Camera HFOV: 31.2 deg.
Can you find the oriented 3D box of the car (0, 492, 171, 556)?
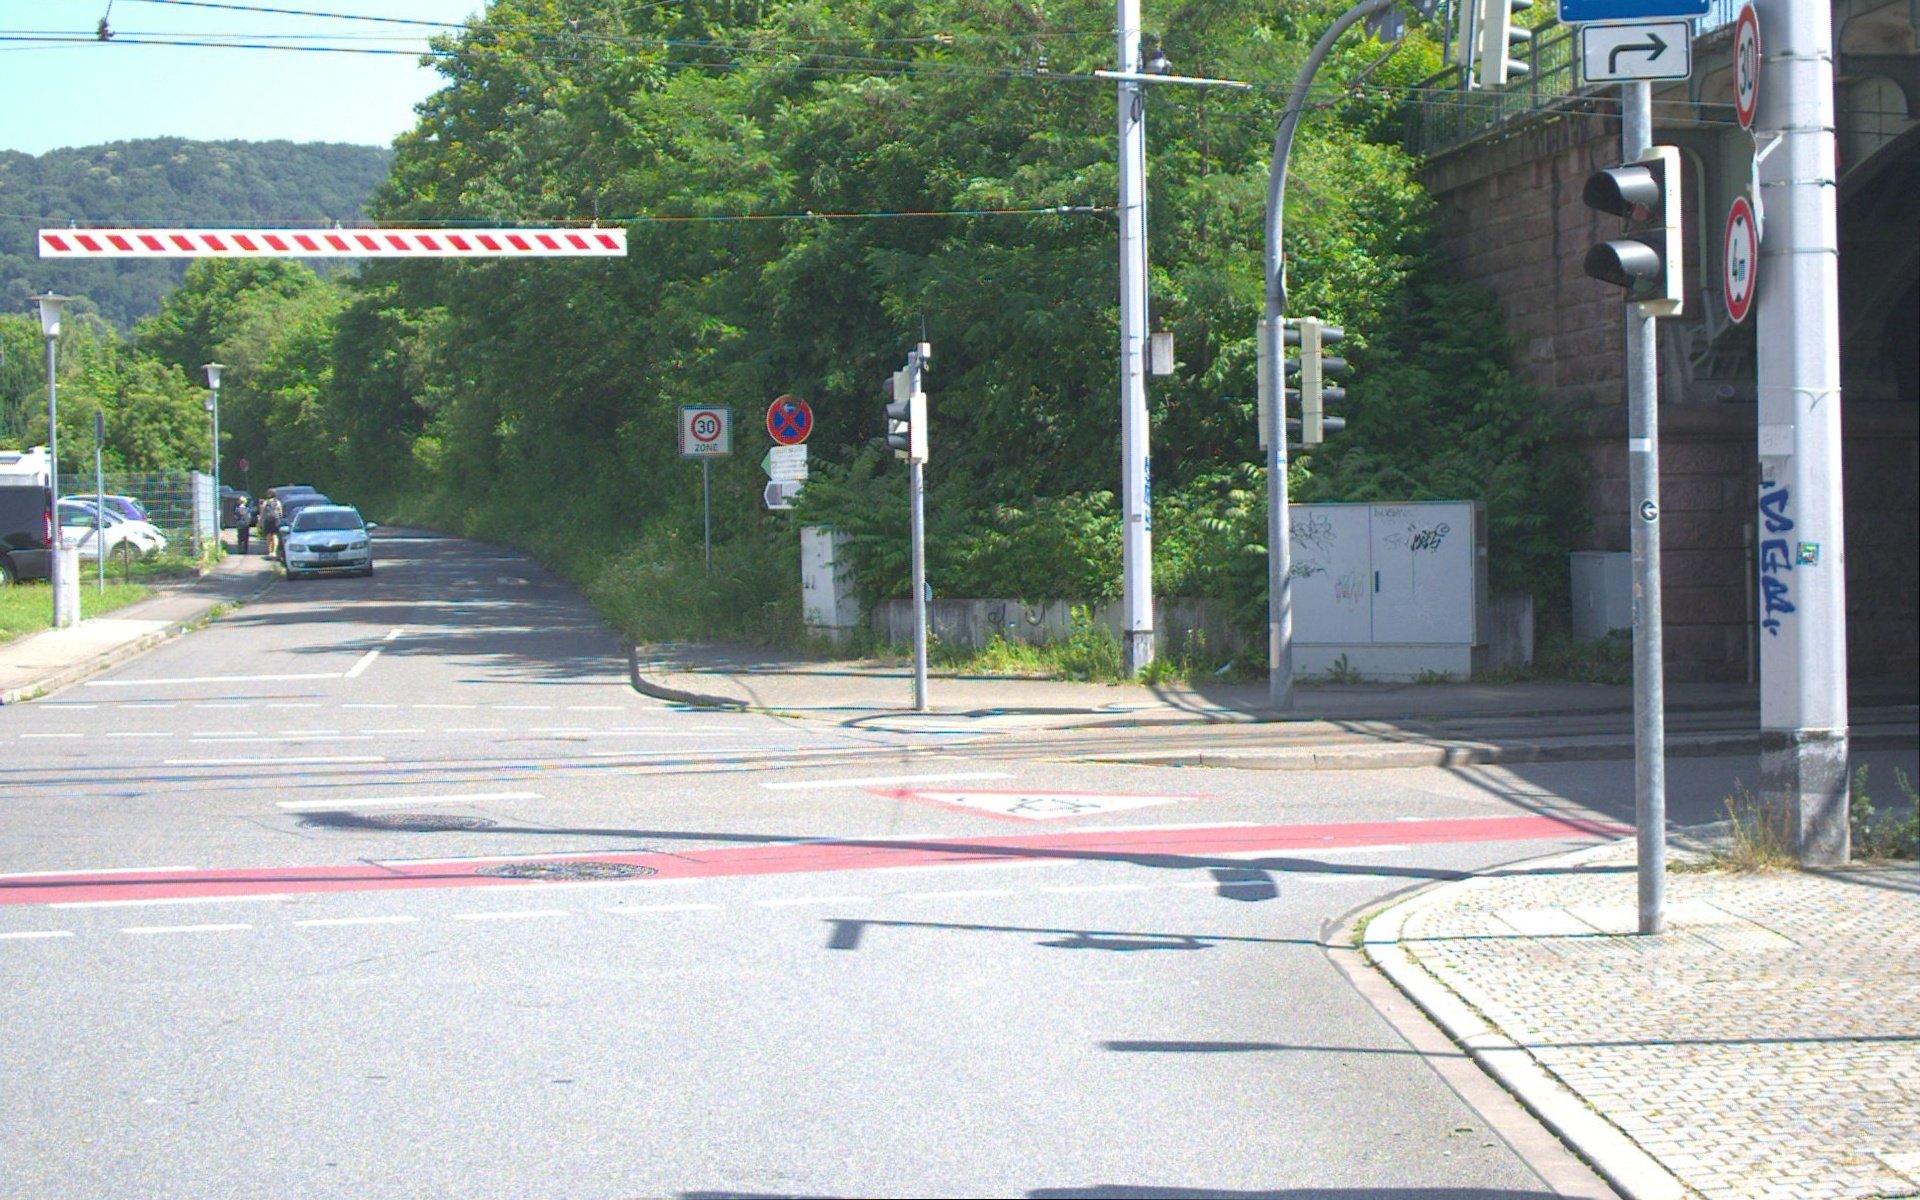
[{"bbox_3d":[-19.717,-1.708,77.283,3.719,1.367,1.605,1,1,-7],"label":"car"}]

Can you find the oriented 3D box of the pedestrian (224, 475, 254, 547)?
[{"bbox_3d":[-17.754,-2.192,84.631,0.653,1.757,0.804,1,0,-9],"label":"pedestrian"}]

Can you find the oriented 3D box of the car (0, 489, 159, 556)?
[{"bbox_3d":[-19.429,-1.682,74.863,3.719,1.367,1.605,1,0,-7],"label":"car"}]

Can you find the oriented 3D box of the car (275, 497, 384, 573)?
[{"bbox_3d":[-13.199,-1.375,72.172,2.086,1.505,4.541,1,1,-8],"label":"car"}]

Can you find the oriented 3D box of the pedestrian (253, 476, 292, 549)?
[{"bbox_3d":[-16.868,-2.151,84.376,0.875,1.757,0.731,1,0,-9],"label":"pedestrian"}]

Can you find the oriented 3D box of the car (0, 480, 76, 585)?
[{"bbox_3d":[-18.409,-1.152,60.646,5.246,1.810,2.001,-1,1,-9],"label":"car"}]
